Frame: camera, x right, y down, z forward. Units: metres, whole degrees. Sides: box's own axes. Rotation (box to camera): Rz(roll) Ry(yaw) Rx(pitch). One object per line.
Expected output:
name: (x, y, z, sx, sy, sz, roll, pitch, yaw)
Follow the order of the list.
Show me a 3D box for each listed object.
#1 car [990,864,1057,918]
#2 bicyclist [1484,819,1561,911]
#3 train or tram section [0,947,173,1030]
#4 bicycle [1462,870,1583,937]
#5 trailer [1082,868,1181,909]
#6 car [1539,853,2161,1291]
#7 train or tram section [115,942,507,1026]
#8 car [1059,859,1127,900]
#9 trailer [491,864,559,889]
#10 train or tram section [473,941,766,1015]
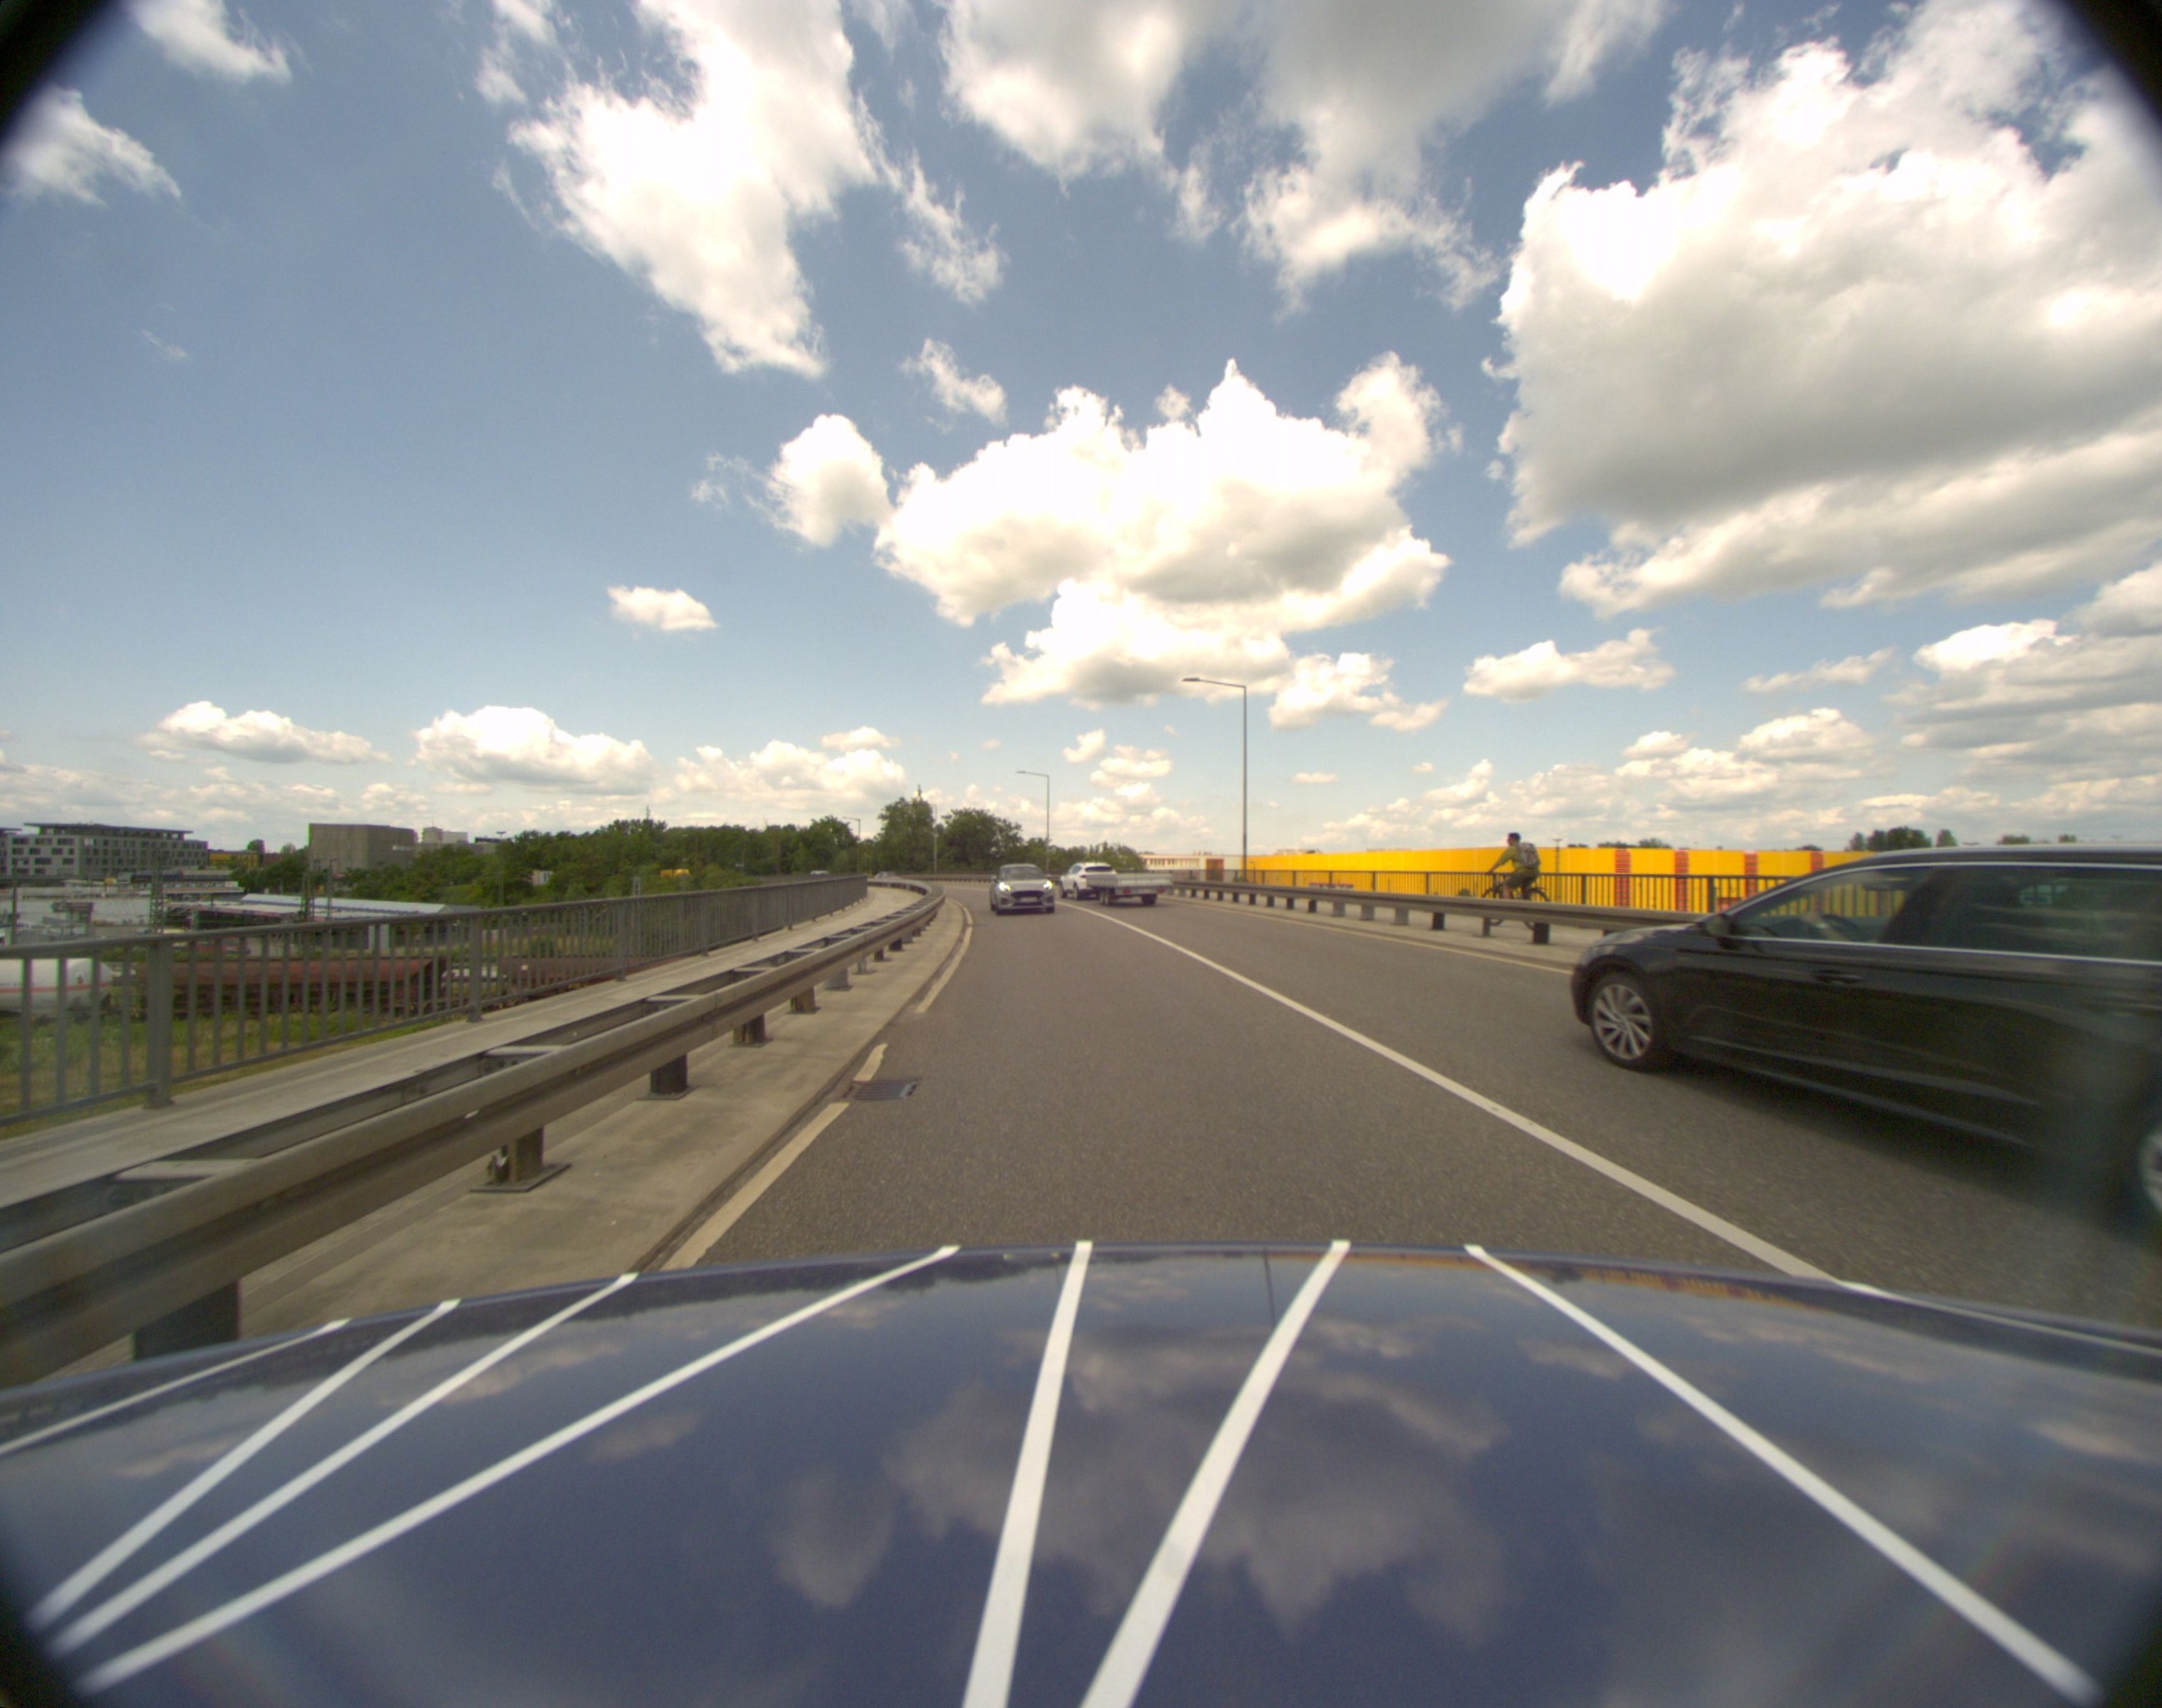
car: (-1.939, 1.126, 24.622, 1.829, 1.515, 3.997, -2, 0, -8)
bicyclist: (7.973, 0.197, 13.757, 0.769, 1.593, 0.947, -1, 0, -8)
train or tram section: (-65.056, 7.966, 44.420, 16.968, 4.130, 3.214, 0, 3, -11)
bicycle: (7.980, 0.856, 13.869, 0.771, 1.088, 2.114, -1, 0, -8)
trailer: (1.601, 1.124, 26.767, 2.052, 1.202, 5.978, -2, 0, -10)
car: (4.531, 0.746, 3.510, 1.822, 1.442, 4.737, -2, -1, -2)
train or tram section: (-47.299, 7.951, 47.457, 18.899, 4.130, 3.216, 0, 3, -8)
car: (0.420, 1.029, 31.825, 1.813, 1.526, 4.344, -2, 0, -12)
trailer: (-107.604, 4.335, 146.965, 14.202, 4.255, 2.718, -2, 0, 18)
train or tram section: (-29.546, 7.942, 49.311, 16.601, 4.130, 3.138, 0, 3, -3)
